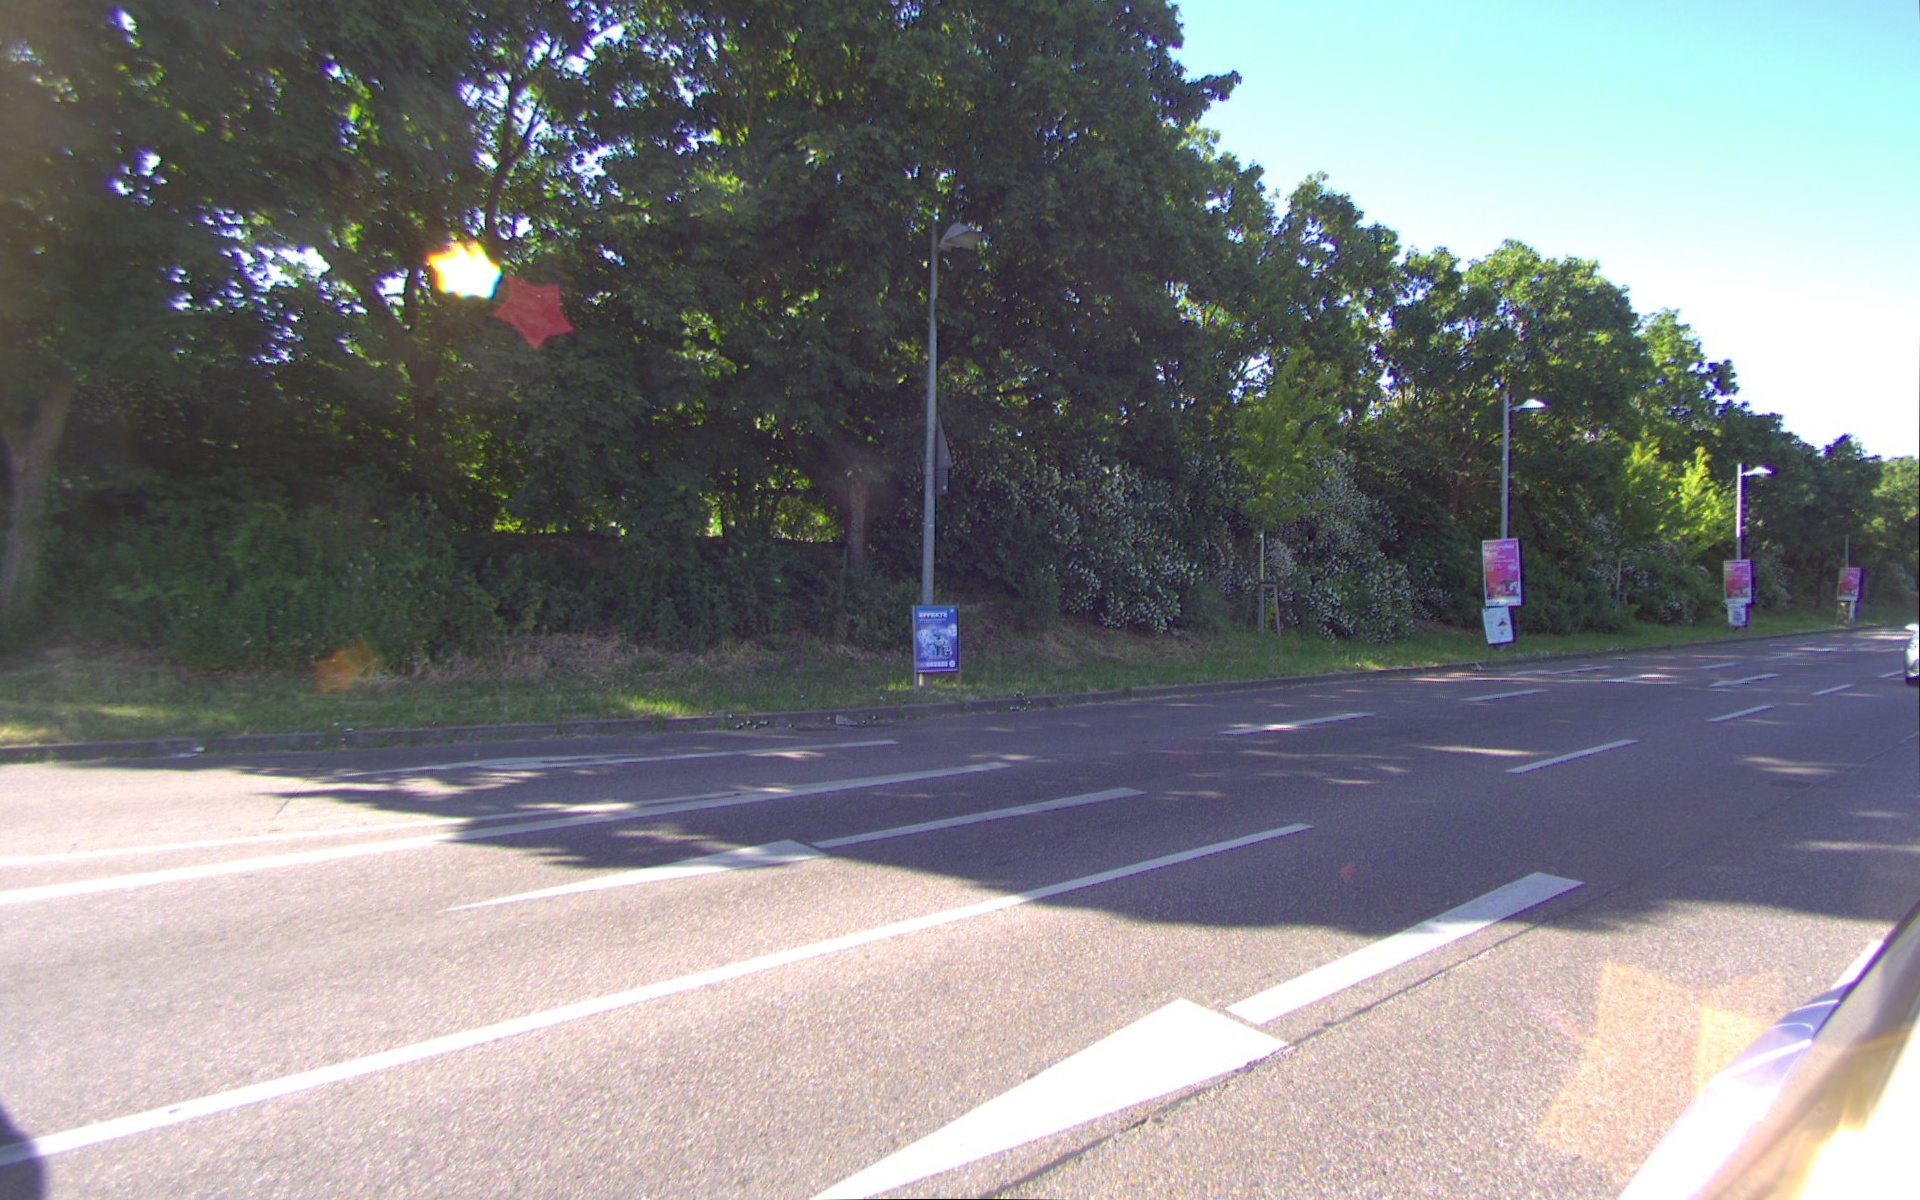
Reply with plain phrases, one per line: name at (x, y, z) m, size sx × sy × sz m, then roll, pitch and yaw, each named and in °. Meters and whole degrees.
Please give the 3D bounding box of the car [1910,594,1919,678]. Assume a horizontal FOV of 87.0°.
car at (18.998, 0.645, 18.474) m, size 4.512 × 1.454 × 1.875 m, roll 0°, pitch 1°, yaw -40°
